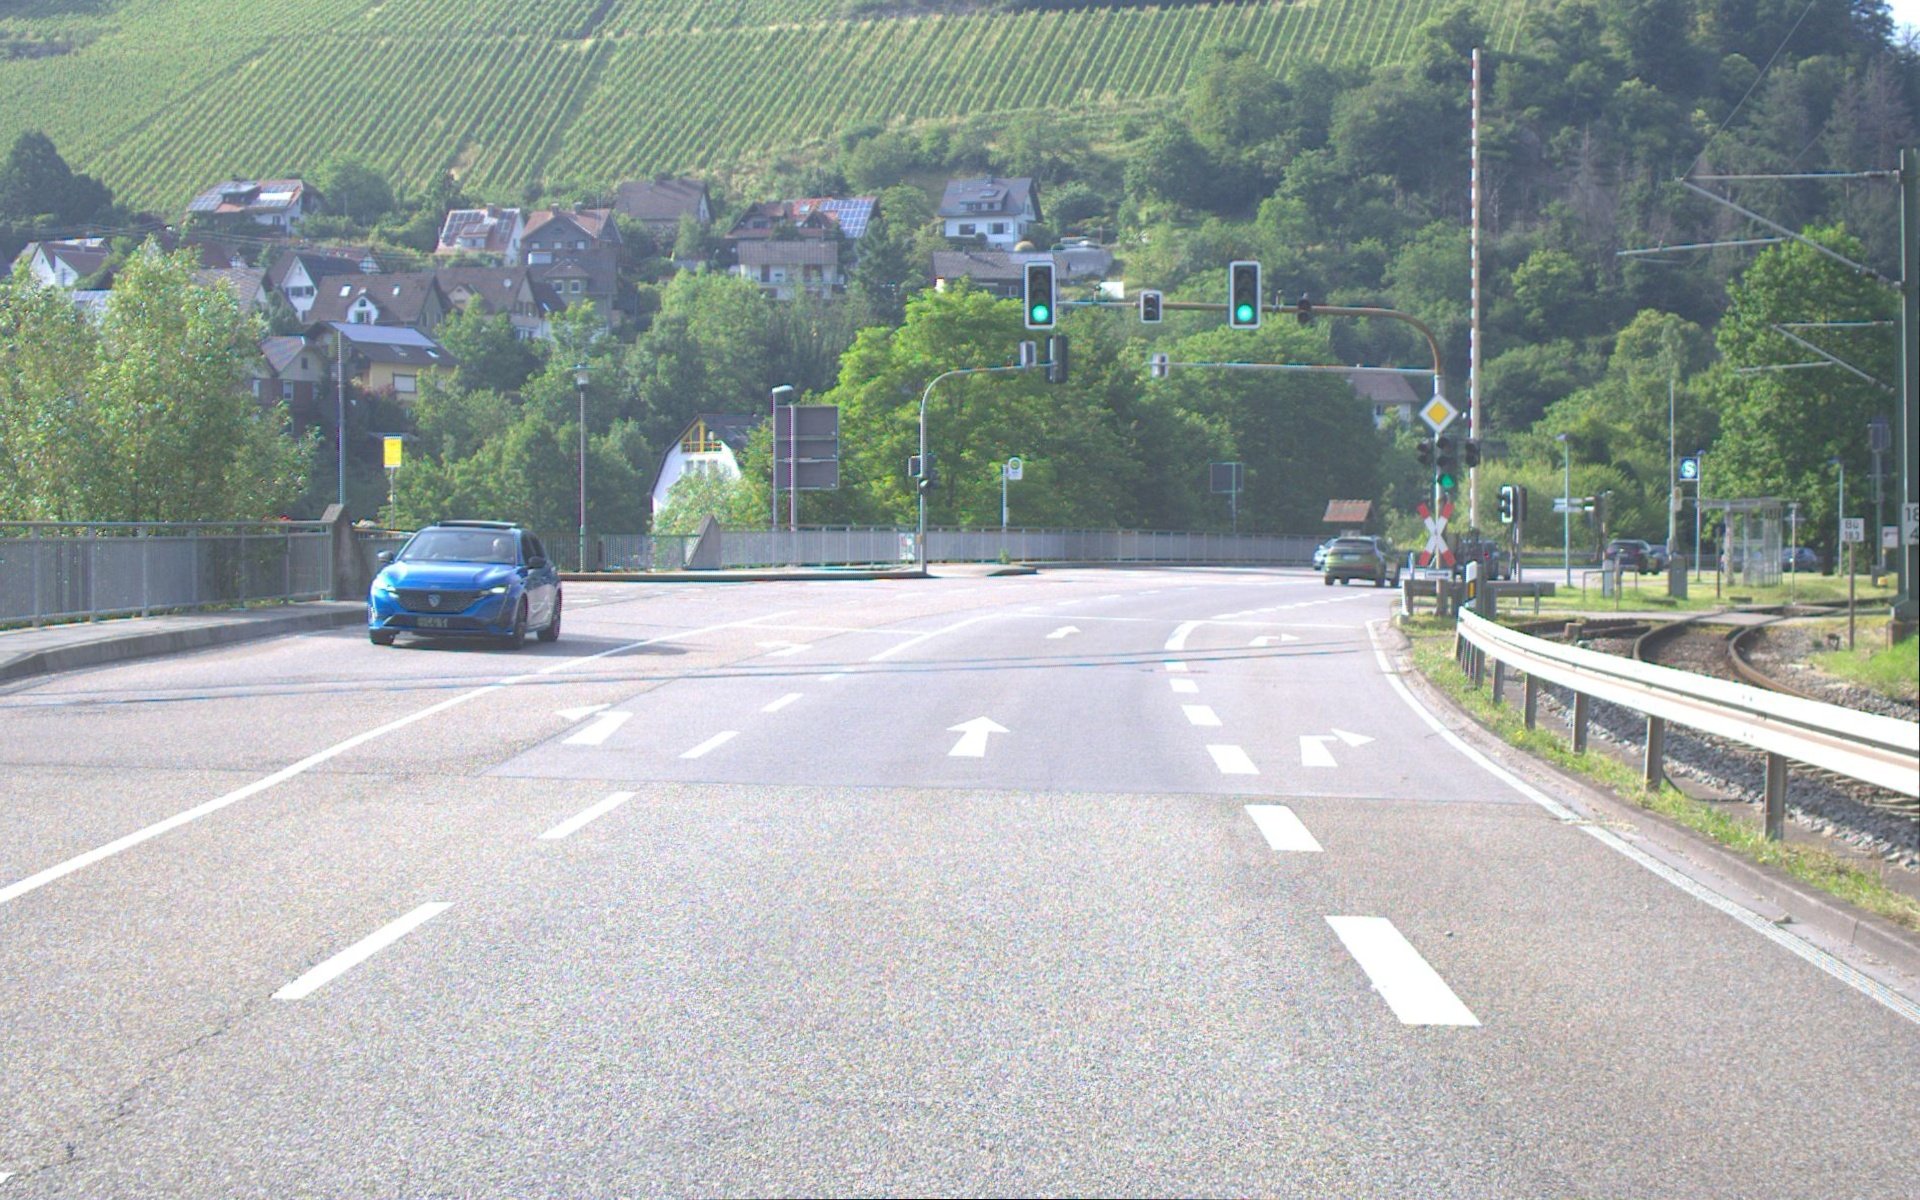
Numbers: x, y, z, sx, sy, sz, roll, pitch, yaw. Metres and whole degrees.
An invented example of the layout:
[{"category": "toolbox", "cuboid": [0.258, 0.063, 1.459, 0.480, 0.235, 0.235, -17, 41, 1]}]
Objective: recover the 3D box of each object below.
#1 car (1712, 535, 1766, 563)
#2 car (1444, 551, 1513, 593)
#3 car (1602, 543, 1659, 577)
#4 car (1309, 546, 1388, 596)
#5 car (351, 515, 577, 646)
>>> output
[{"category": "car", "cuboid": [39.783, -2.612, 175.470, 1.811, 1.403, 3.768, 0, 0, 27]}, {"category": "car", "cuboid": [18.447, -1.000, 122.185, 1.841, 1.454, 3.709, 0, 0, 18]}, {"category": "car", "cuboid": [29.712, -1.760, 152.290, 1.809, 1.448, 3.643, 0, 0, 22]}, {"category": "car", "cuboid": [11.471, -0.852, 101.370, 1.730, 1.452, 3.408, 0, 0, 16]}, {"category": "car", "cuboid": [-5.977, -0.272, 41.915, 1.782, 1.477, 4.525, 1, 1, 4]}]
